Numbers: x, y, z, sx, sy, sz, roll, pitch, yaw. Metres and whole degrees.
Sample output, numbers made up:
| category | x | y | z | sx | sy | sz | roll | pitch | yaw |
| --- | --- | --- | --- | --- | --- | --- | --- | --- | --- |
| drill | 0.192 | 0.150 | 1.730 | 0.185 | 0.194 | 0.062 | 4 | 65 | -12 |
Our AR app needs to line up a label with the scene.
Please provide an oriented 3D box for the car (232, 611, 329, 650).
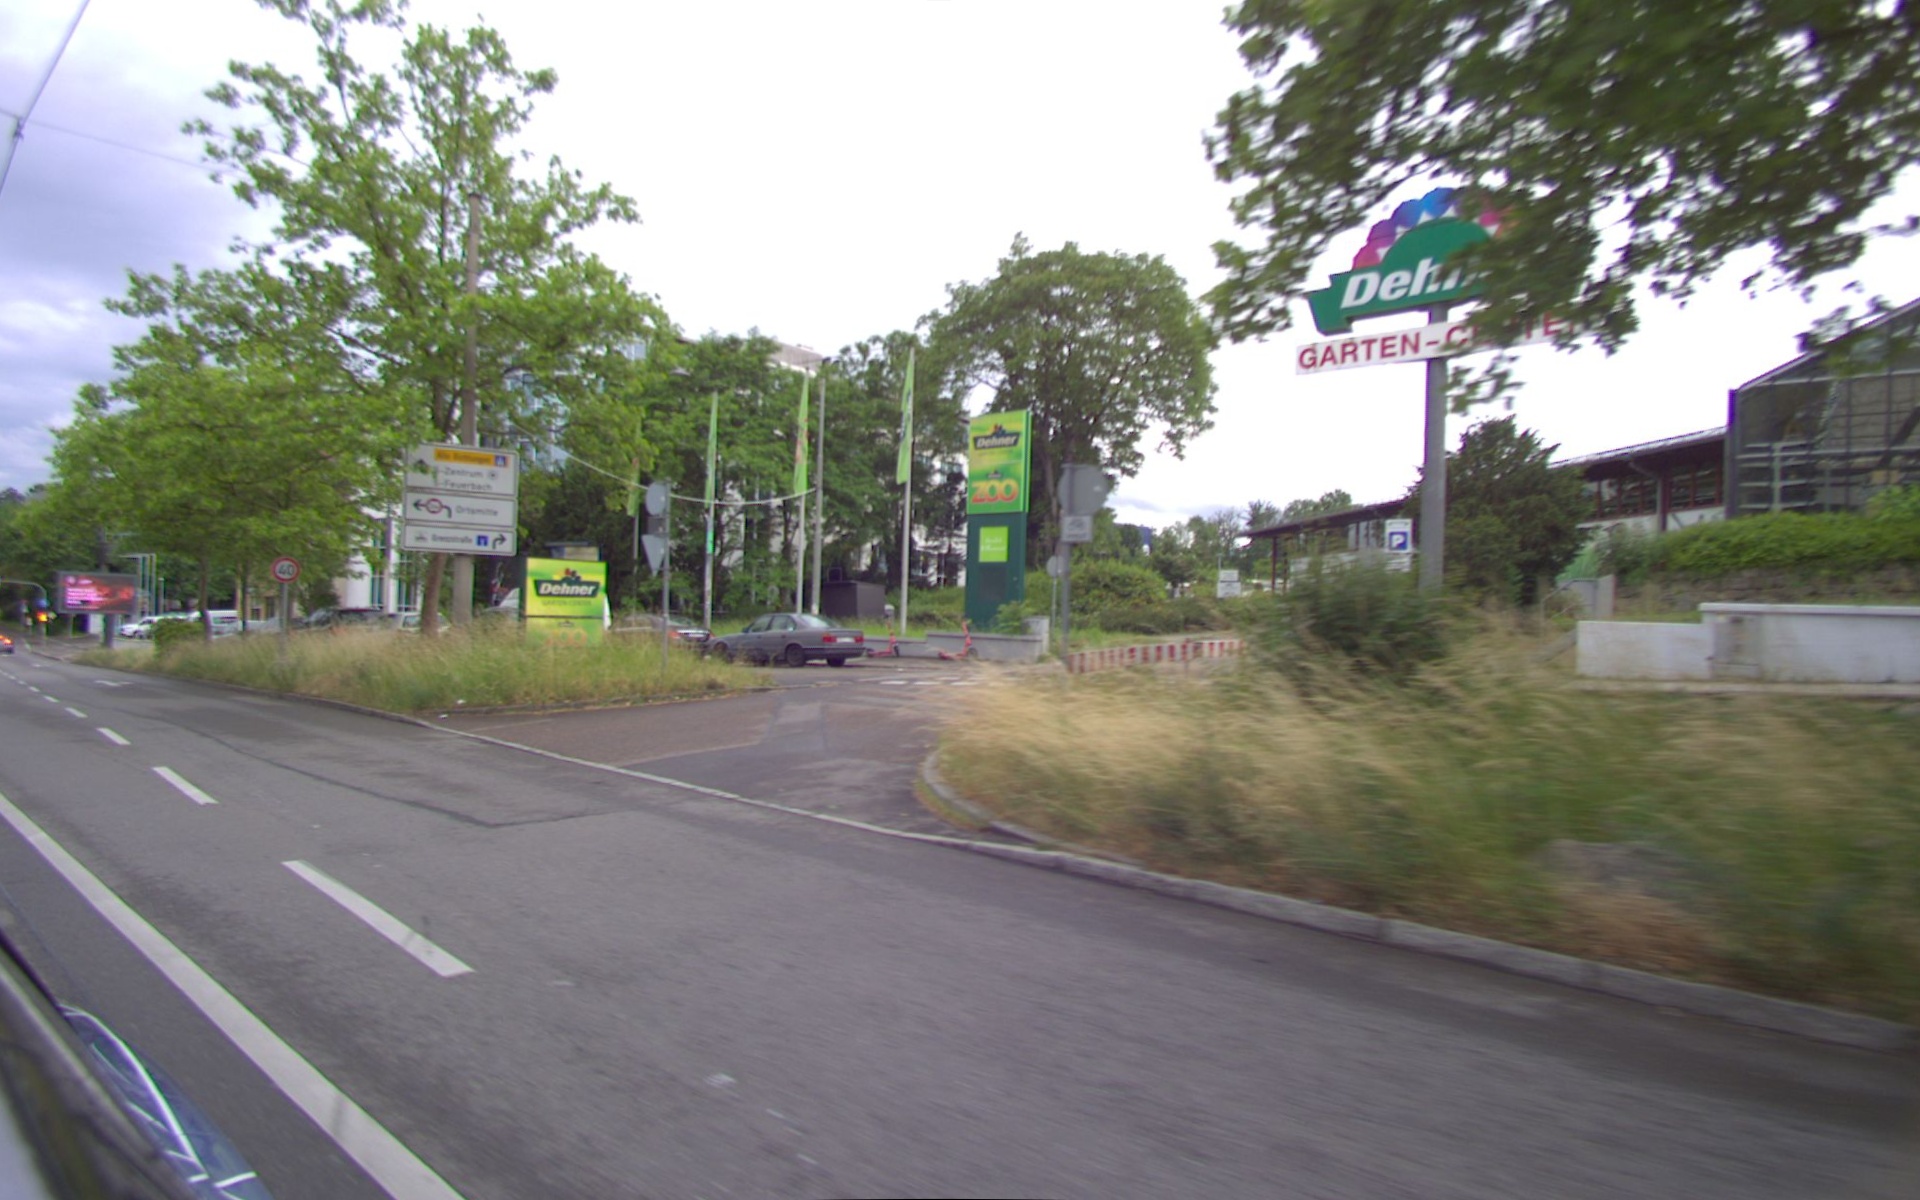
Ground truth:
| category | x | y | z | sx | sy | sz | roll | pitch | yaw |
| --- | --- | --- | --- | --- | --- | --- | --- | --- | --- |
| car | -22.786 | 1.052 | 33.884 | 4.217 | 1.214 | 1.679 | -2 | -4 | 42 |

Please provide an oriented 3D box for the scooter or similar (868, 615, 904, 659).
| category | x | y | z | sx | sy | sz | roll | pitch | yaw |
| --- | --- | --- | --- | --- | --- | --- | --- | --- | --- |
| scooter or similar | -2.097 | 1.045 | 28.722 | 0.920 | 1.164 | 0.395 | 1 | 5 | 31 |

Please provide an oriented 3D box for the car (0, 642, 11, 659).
| category | x | y | z | sx | sy | sz | roll | pitch | yaw |
| --- | --- | --- | --- | --- | --- | --- | --- | --- | --- |
| car | -74.335 | 3.866 | 78.116 | 2.452 | 1.232 | 1.362 | 1 | -2 | 41 |

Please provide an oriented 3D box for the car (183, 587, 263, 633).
| category | x | y | z | sx | sy | sz | roll | pitch | yaw |
| --- | --- | --- | --- | --- | --- | --- | --- | --- | --- |
| car | -28.406 | 0.436 | 38.969 | 3.988 | 1.552 | 1.575 | -3 | -5 | 40 |

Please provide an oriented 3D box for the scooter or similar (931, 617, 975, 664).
| category | x | y | z | sx | sy | sz | roll | pitch | yaw |
| --- | --- | --- | --- | --- | --- | --- | --- | --- | --- |
| scooter or similar | -0.197 | 1.090 | 27.281 | 1.129 | 1.254 | 0.489 | -2 | -3 | 39 |

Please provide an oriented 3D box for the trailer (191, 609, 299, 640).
| category | x | y | z | sx | sy | sz | roll | pitch | yaw |
| --- | --- | --- | --- | --- | --- | --- | --- | --- | --- |
| trailer | -60.203 | 2.121 | 85.352 | 2.394 | 2.446 | 7.023 | 1 | -2 | 41 |

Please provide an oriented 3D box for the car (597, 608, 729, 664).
| category | x | y | z | sx | sy | sz | roll | pitch | yaw |
| --- | --- | --- | --- | --- | --- | --- | --- | --- | --- |
| car | -8.703 | 1.025 | 29.556 | 3.664 | 1.479 | 1.826 | 1 | -2 | 37 |

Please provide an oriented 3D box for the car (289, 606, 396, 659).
| category | x | y | z | sx | sy | sz | roll | pitch | yaw |
| --- | --- | --- | --- | --- | --- | --- | --- | --- | --- |
| car | -18.578 | 0.961 | 30.400 | 3.643 | 1.463 | 1.636 | 1 | -2 | 41 |

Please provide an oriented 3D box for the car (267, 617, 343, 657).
| category | x | y | z | sx | sy | sz | roll | pitch | yaw |
| --- | --- | --- | --- | --- | --- | --- | --- | --- | --- |
| car | -31.276 | 1.799 | 48.260 | 4.580 | 1.759 | 1.752 | -3 | -5 | 40 |

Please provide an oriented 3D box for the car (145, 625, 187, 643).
| category | x | y | z | sx | sy | sz | roll | pitch | yaw |
| --- | --- | --- | --- | --- | --- | --- | --- | --- | --- |
| car | -67.950 | 2.925 | 86.627 | 1.227 | 1.435 | 2.649 | 0 | 0 | 42 |

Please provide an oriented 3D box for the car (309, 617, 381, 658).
| category | x | y | z | sx | sy | sz | roll | pitch | yaw |
| --- | --- | --- | --- | --- | --- | --- | --- | --- | --- |
| car | -27.177 | 1.672 | 44.683 | 3.778 | 1.709 | 1.575 | -3 | -5 | 40 |

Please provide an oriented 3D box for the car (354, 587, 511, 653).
| category | x | y | z | sx | sy | sz | roll | pitch | yaw |
| --- | --- | --- | --- | --- | --- | --- | --- | --- | --- |
| car | -11.576 | 0.399 | 22.079 | 4.544 | 1.303 | 1.521 | 1 | -2 | 42 |

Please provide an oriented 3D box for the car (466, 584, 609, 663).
| category | x | y | z | sx | sy | sz | roll | pitch | yaw |
| --- | --- | --- | --- | --- | --- | --- | --- | --- | --- |
| car | -14.398 | 0.890 | 34.346 | 5.647 | 2.462 | 1.944 | -3 | -4 | 38 |

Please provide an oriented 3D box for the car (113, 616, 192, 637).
| category | x | y | z | sx | sy | sz | roll | pitch | yaw |
| --- | --- | --- | --- | --- | --- | --- | --- | --- | --- |
| car | -75.027 | 2.503 | 94.084 | 2.215 | 1.815 | 5.309 | 1 | -2 | 35 |

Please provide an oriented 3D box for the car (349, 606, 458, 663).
| category | x | y | z | sx | sy | sz | roll | pitch | yaw |
| --- | --- | --- | --- | --- | --- | --- | --- | --- | --- |
| car | -15.142 | 0.912 | 27.474 | 3.705 | 1.405 | 1.346 | 1 | -2 | 41 |

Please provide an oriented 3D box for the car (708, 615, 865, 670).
| category | x | y | z | sx | sy | sz | roll | pitch | yaw |
| --- | --- | --- | --- | --- | --- | --- | --- | --- | --- |
| car | -4.579 | 1.093 | 26.420 | 4.268 | 1.328 | 1.389 | -1 | -3 | 34 |
